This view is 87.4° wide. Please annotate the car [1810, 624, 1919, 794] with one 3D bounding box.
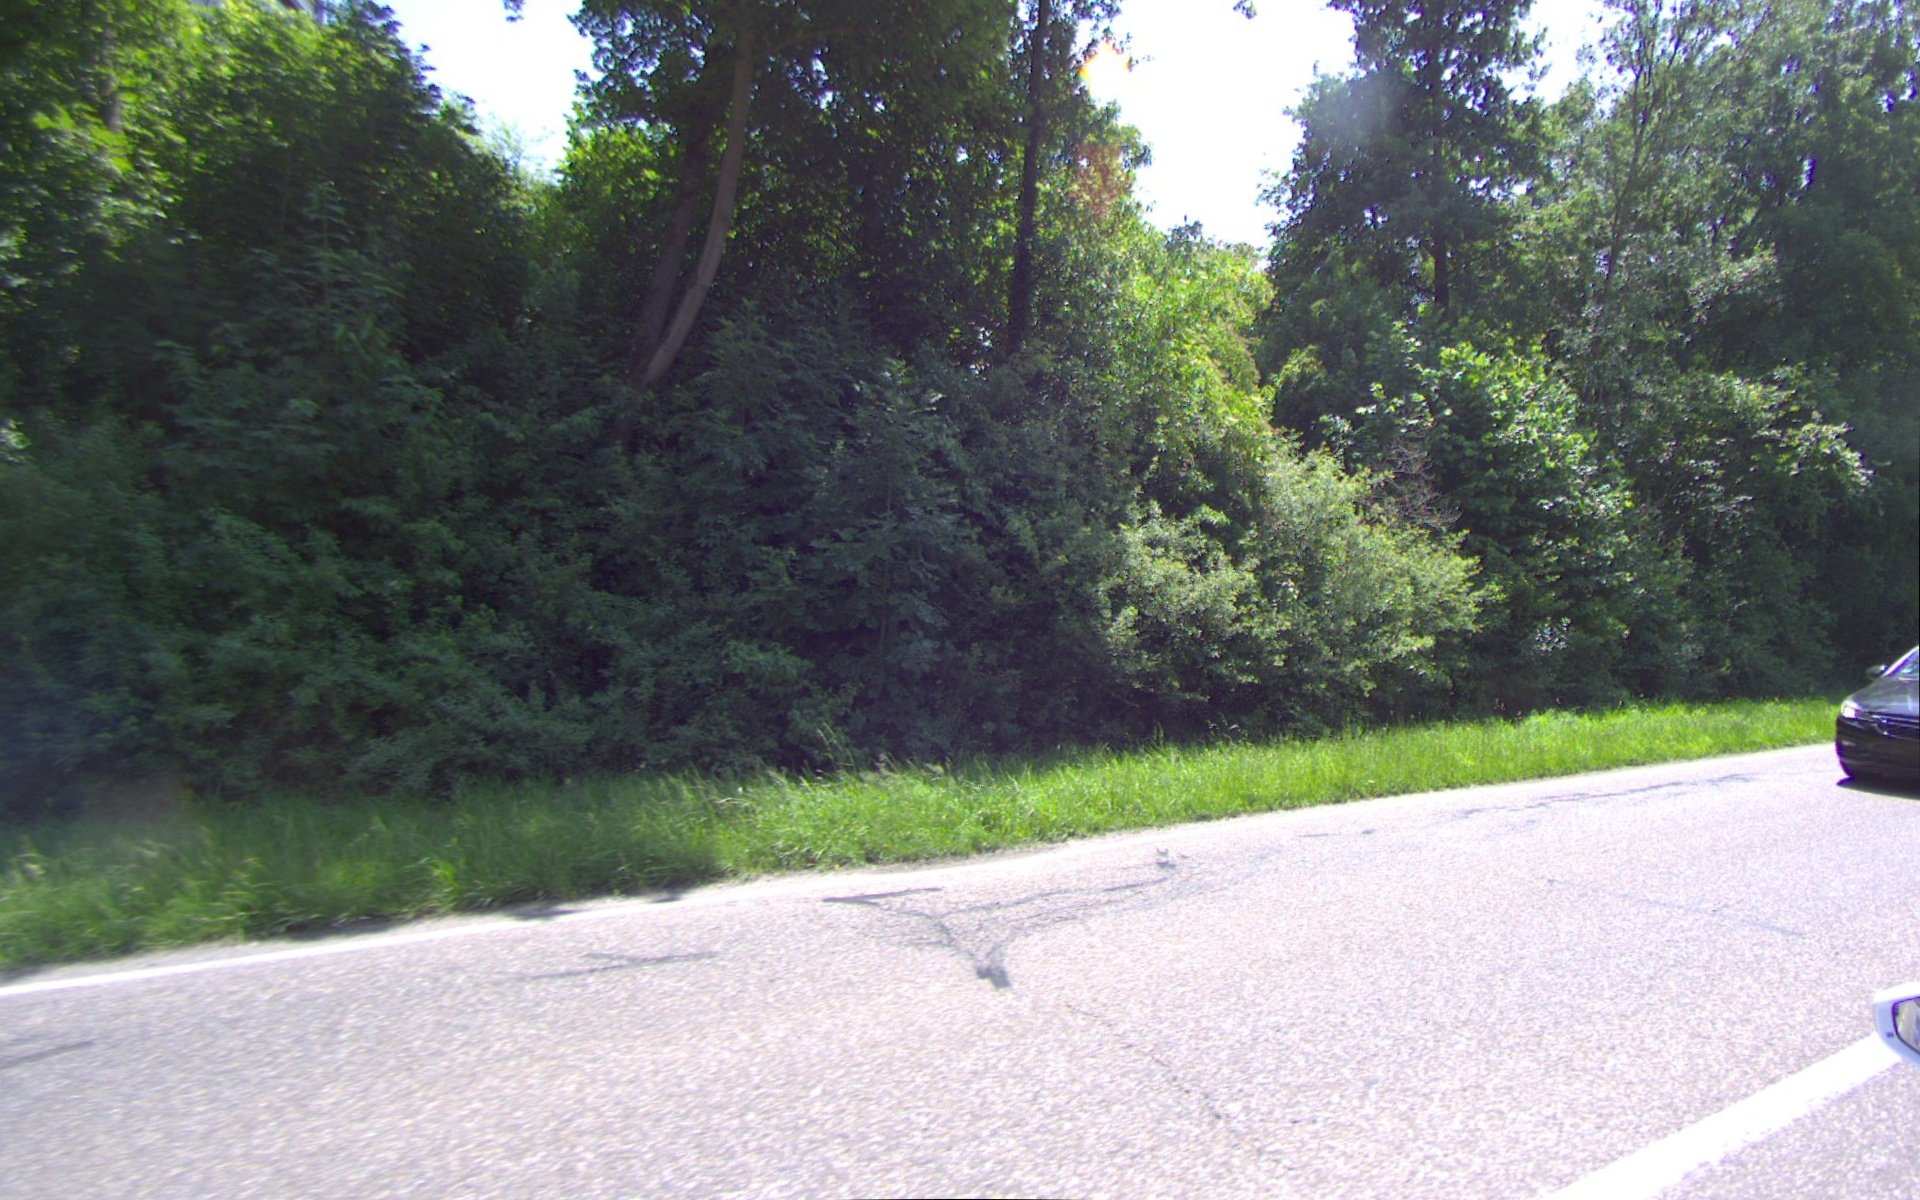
[{"bbox_3d":[10.172,0.984,9.639,4.059,1.469,1.776,1,-1,-29],"label":"car"}]
